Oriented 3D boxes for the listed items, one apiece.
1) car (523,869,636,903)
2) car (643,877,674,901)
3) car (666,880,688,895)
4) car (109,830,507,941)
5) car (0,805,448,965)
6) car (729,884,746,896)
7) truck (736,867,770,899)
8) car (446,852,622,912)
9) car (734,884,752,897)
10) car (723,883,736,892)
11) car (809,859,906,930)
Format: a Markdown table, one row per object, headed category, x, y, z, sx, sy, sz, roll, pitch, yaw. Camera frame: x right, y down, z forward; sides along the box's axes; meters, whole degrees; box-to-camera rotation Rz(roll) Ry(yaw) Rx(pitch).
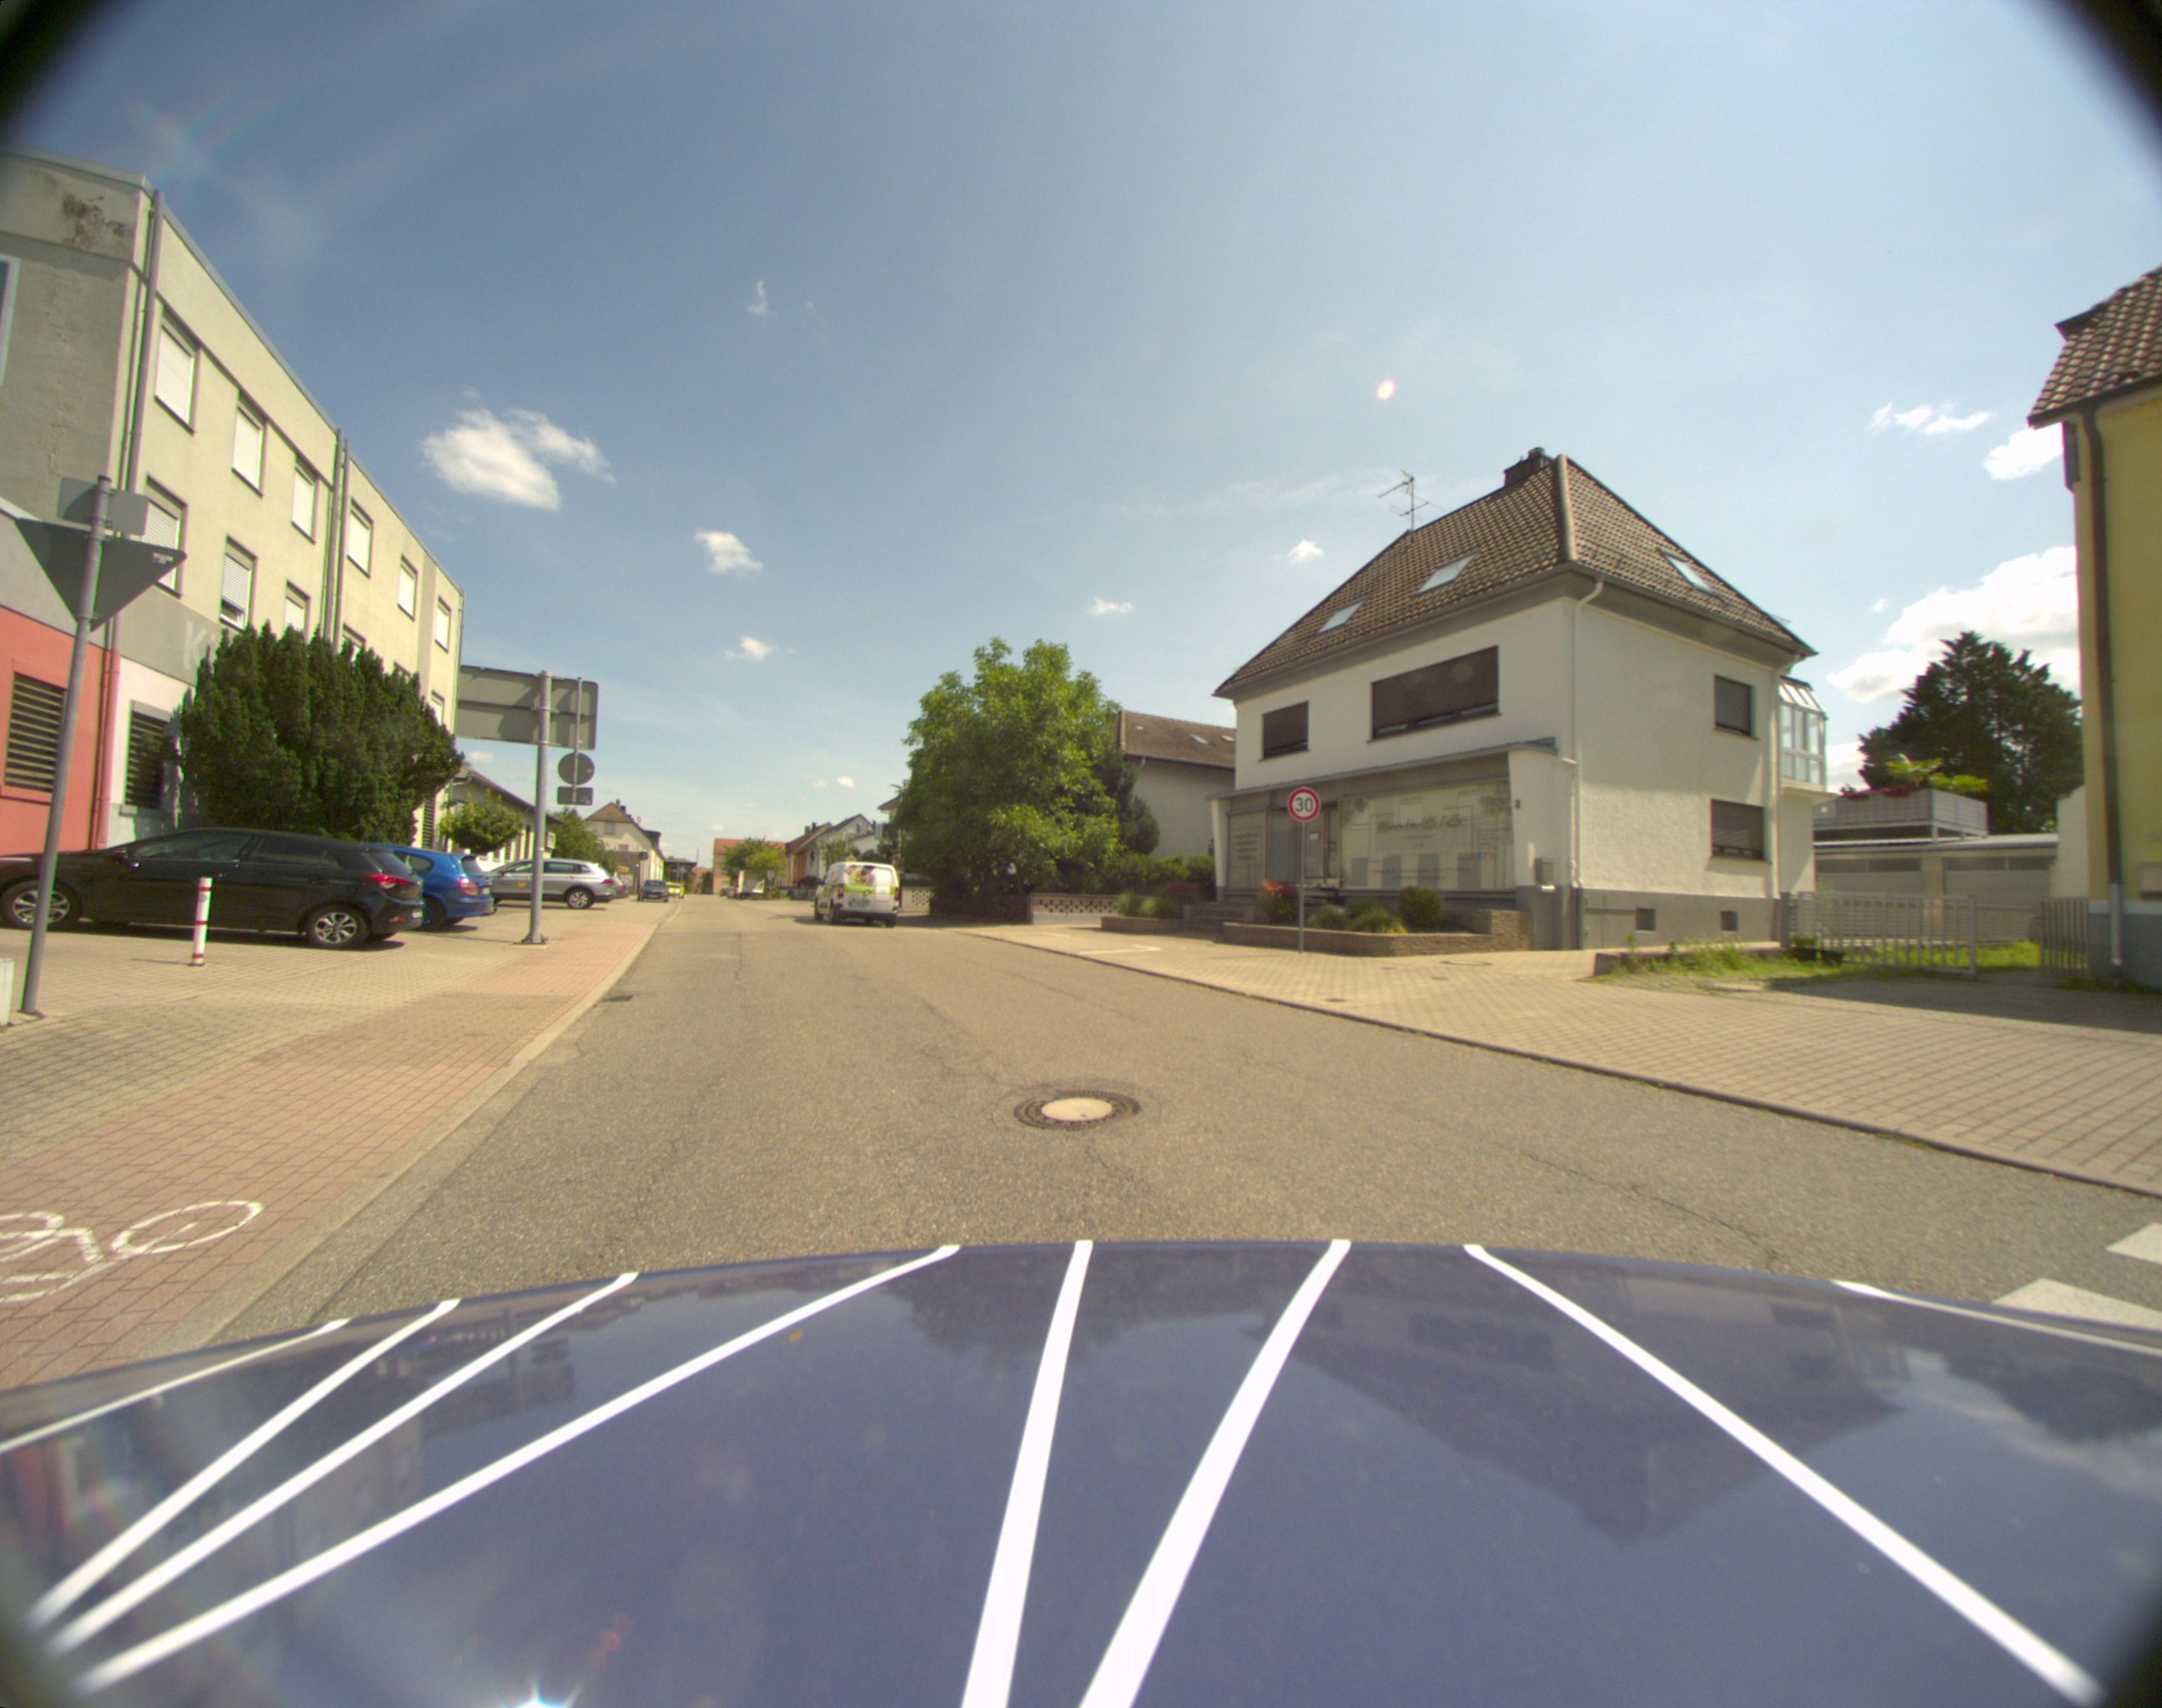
| category | x | y | z | sx | sy | sz | roll | pitch | yaw |
| --- | --- | --- | --- | --- | --- | --- | --- | --- | --- |
| car | -25.562 | 1.677 | 38.917 | 4.549 | 1.444 | 1.914 | 5 | -4 | -27 |
| car | -27.792 | 2.287 | 49.982 | 1.636 | 1.479 | 4.131 | 4 | -4 | -28 |
| car | -40.774 | 3.378 | 76.686 | 1.725 | 1.388 | 4.207 | 7 | -5 | -27 |
| car | -12.810 | 0.569 | 13.052 | 4.345 | 1.430 | 1.775 | 7 | -2 | -28 |
| car | -11.301 | 0.462 | 10.163 | 3.917 | 1.480 | 1.806 | 10 | -5 | -29 |
| car | -46.211 | 4.886 | 102.141 | 1.725 | 1.490 | 4.207 | 6 | -5 | -28 |
| truck | -36.570 | 3.265 | 84.495 | 2.451 | 3.225 | 7.022 | 7 | -5 | -29 |
| car | -18.050 | 0.976 | 25.389 | 4.476 | 1.686 | 1.919 | 5 | -4 | -29 |
| car | -42.982 | 4.612 | 96.637 | 1.725 | 1.490 | 4.207 | 6 | -5 | -28 |
| car | -59.835 | 5.723 | 129.279 | 1.725 | 1.490 | 4.207 | 6 | -5 | -28 |
| car | -6.829 | 1.190 | 22.872 | 1.821 | 1.843 | 4.550 | 5 | -4 | -28 |
